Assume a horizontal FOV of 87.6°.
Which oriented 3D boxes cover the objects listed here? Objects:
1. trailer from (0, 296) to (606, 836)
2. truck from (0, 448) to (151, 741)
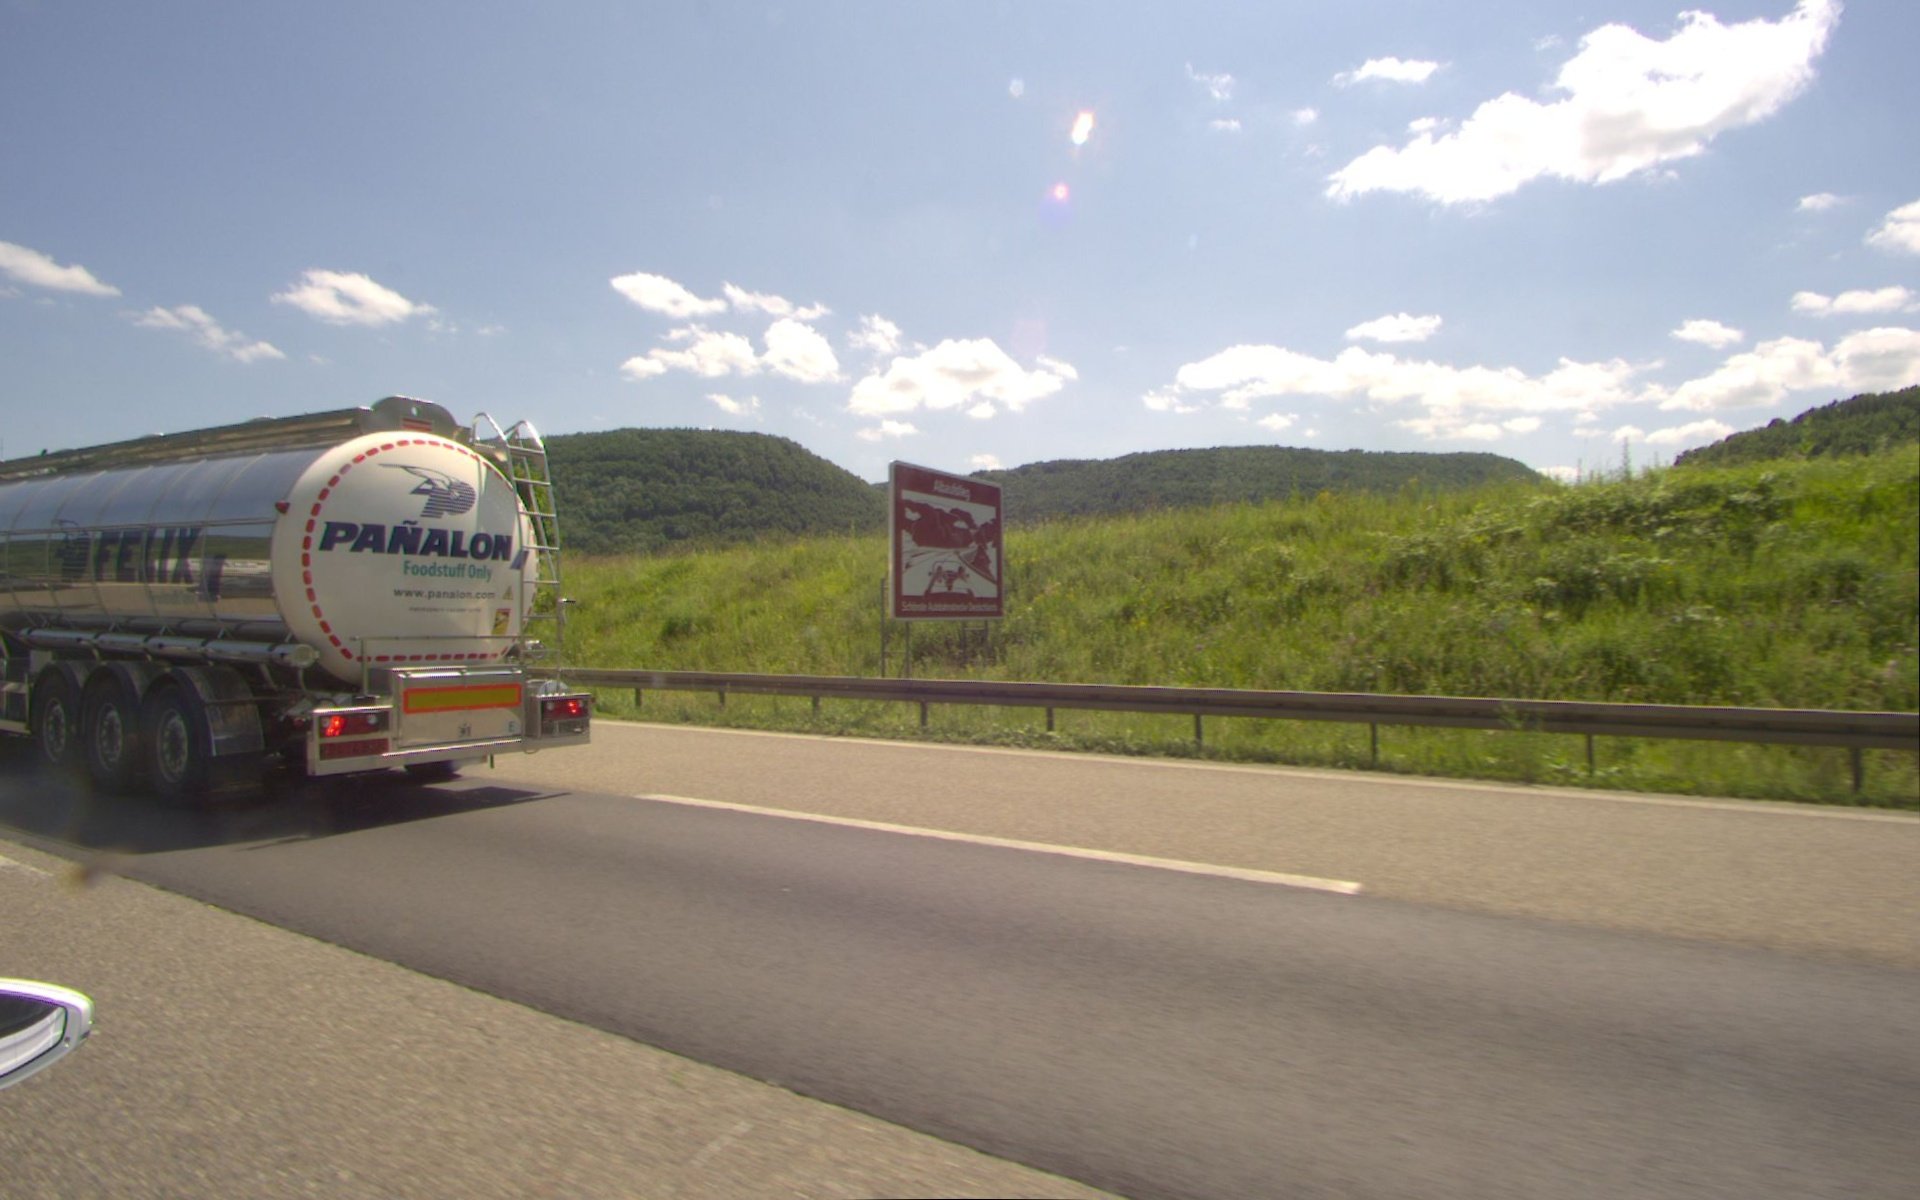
[{"bbox_3d":[-8.896,-0.105,11.189,11.719,3.783,2.534,-1,-2,32],"label":"trailer"},{"bbox_3d":[-14.481,-0.017,14.653,5.170,3.806,2.508,-1,-2,32],"label":"truck"}]
